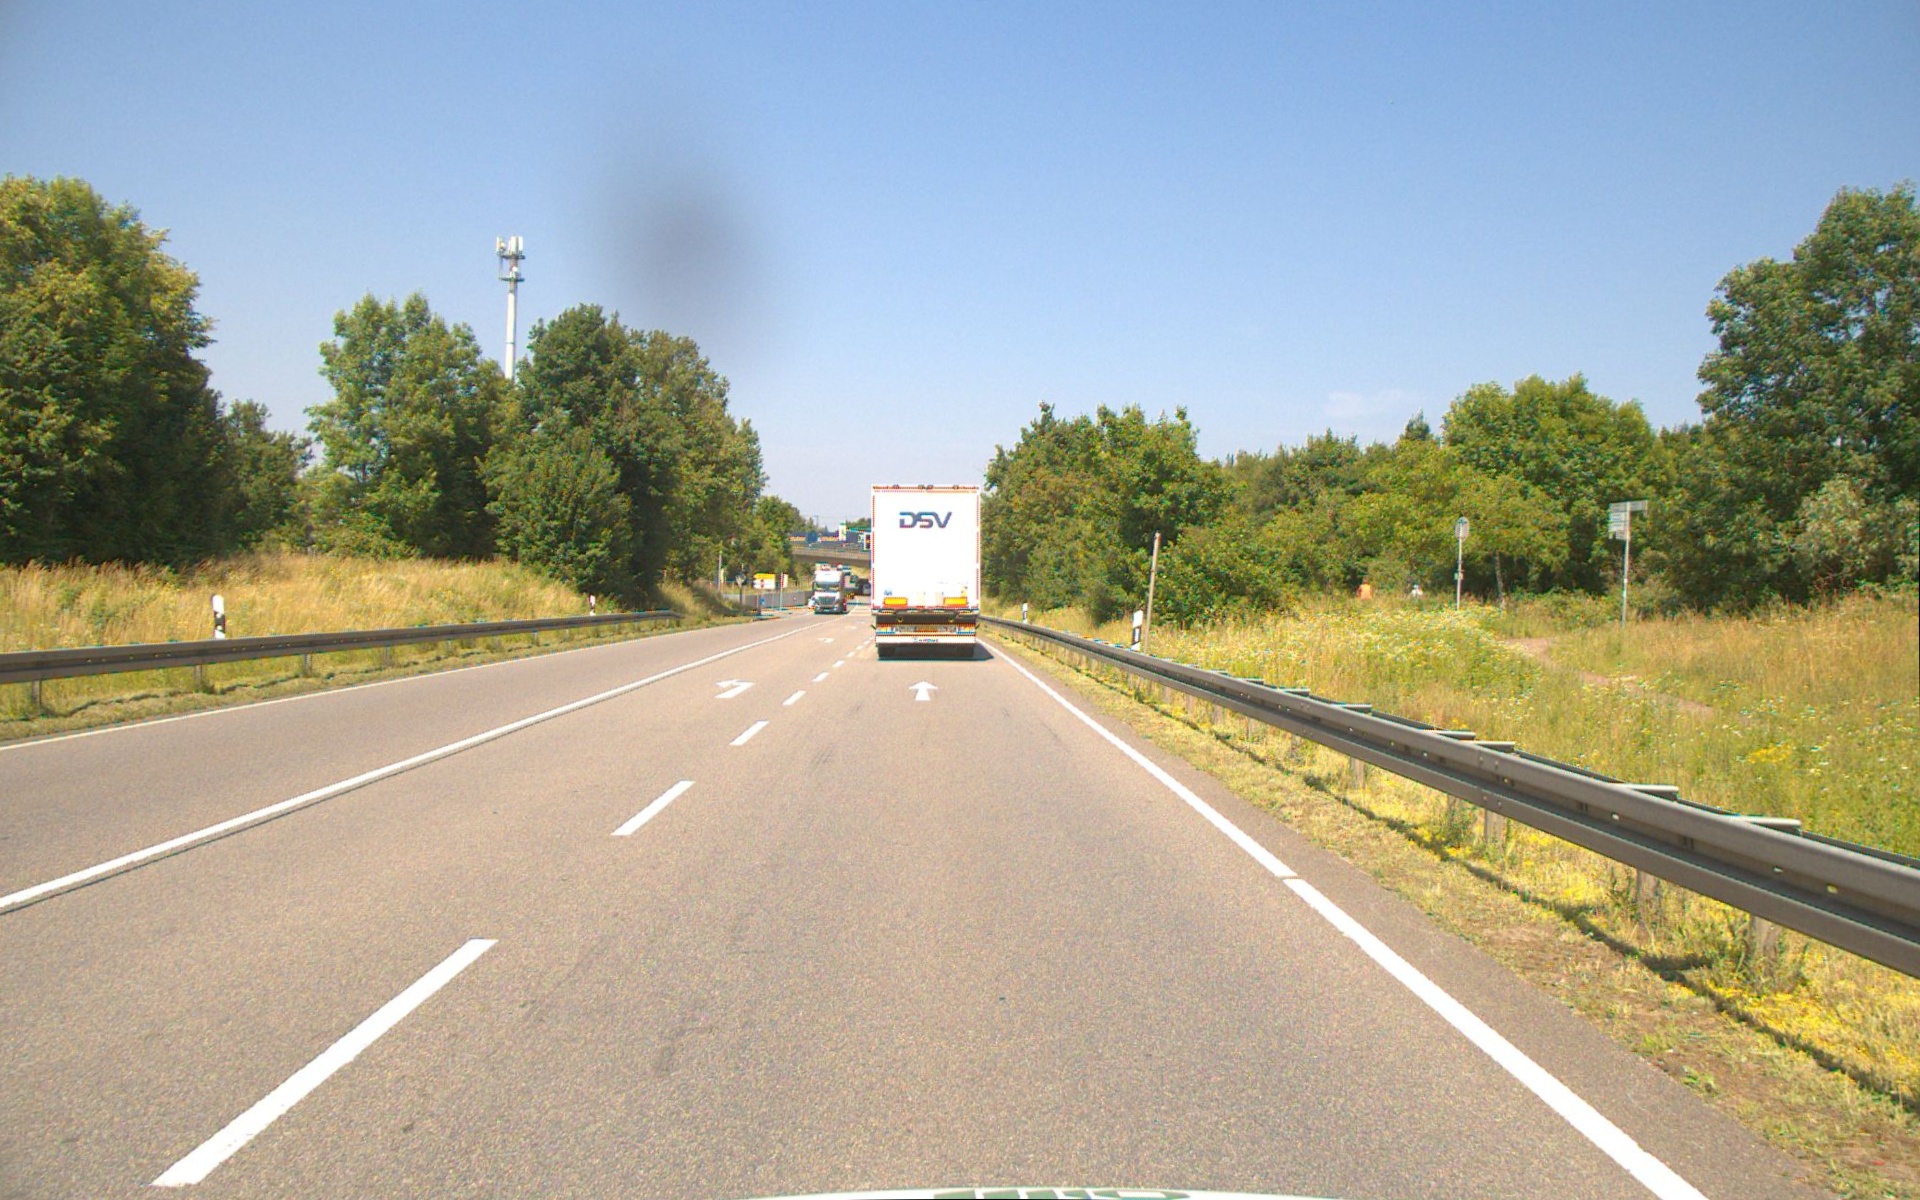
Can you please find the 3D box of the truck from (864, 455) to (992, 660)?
[{"bbox_3d":[-0.810,-0.963,42.540,2.890,4.648,9.860,0,0,-1],"label":"truck"}]

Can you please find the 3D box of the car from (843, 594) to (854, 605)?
[{"bbox_3d":[-17.228,-0.112,255.581,1.712,1.654,3.701,0,0,-3],"label":"car"}]

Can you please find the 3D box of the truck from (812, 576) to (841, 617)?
[{"bbox_3d":[-13.005,-0.379,162.126,2.306,3.815,12.619,0,0,-2],"label":"truck"}]
